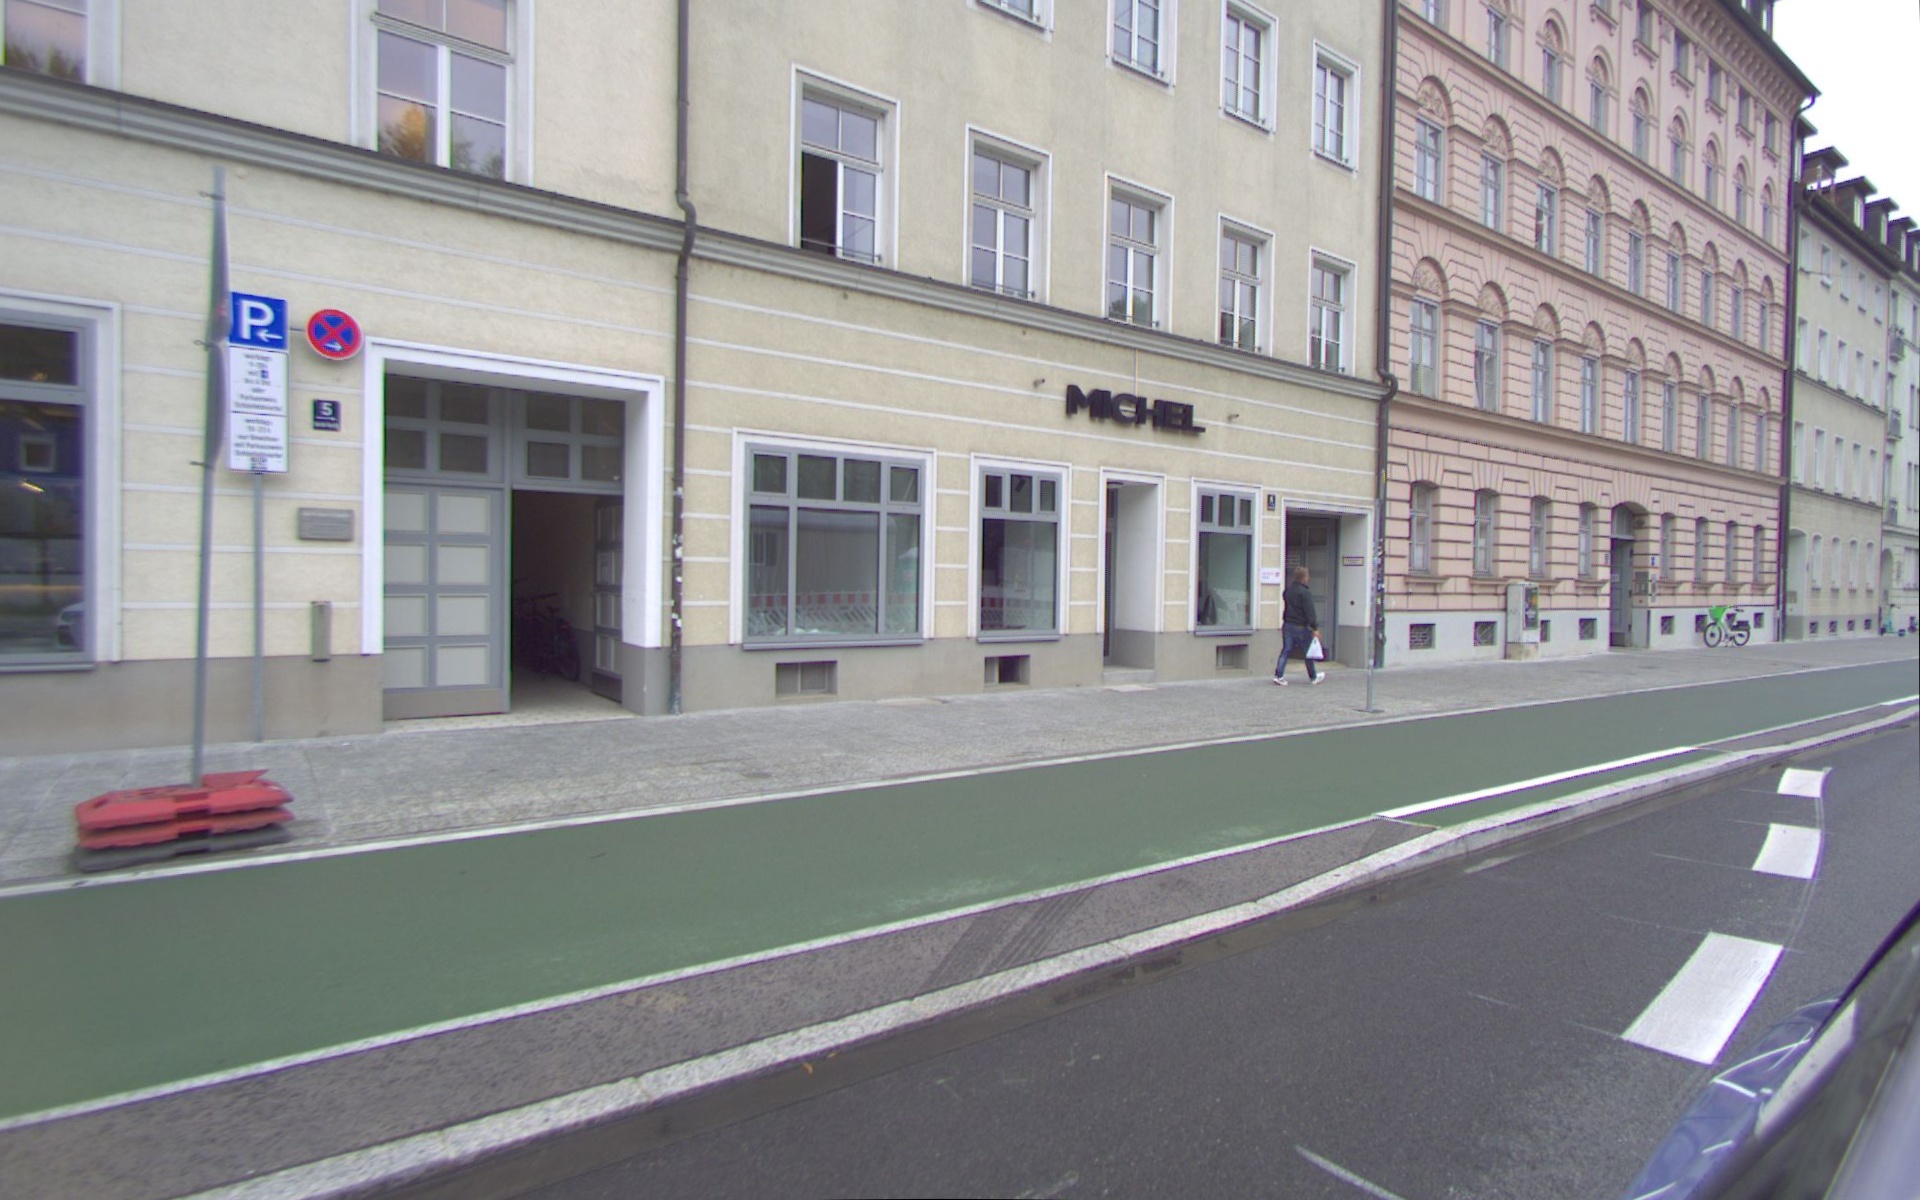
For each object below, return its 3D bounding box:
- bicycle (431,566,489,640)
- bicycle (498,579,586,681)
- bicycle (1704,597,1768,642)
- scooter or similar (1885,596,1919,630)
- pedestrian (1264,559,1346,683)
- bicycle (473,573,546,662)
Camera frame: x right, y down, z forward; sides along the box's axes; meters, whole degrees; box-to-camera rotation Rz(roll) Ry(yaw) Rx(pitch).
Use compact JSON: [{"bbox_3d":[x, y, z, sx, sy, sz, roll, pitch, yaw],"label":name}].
[{"bbox_3d":[-8.732,0.024,17.632,0.547,1.192,1.933,0,2,-37],"label":"bicycle"},{"bbox_3d":[-5.456,0.347,13.137,0.547,1.192,2.031,0,2,-37],"label":"bicycle"},{"bbox_3d":[20.919,0.521,27.286,1.689,1.191,0.558,1,1,-22],"label":"bicycle"},{"bbox_3d":[35.746,0.489,38.243,1.056,1.261,0.554,1,1,-1],"label":"scooter or similar"},{"bbox_3d":[5.088,0.289,14.929,0.817,1.767,0.796,0,1,-35],"label":"pedestrian"},{"bbox_3d":[-6.642,0.221,14.869,0.547,1.192,1.933,0,2,-37],"label":"bicycle"}]
